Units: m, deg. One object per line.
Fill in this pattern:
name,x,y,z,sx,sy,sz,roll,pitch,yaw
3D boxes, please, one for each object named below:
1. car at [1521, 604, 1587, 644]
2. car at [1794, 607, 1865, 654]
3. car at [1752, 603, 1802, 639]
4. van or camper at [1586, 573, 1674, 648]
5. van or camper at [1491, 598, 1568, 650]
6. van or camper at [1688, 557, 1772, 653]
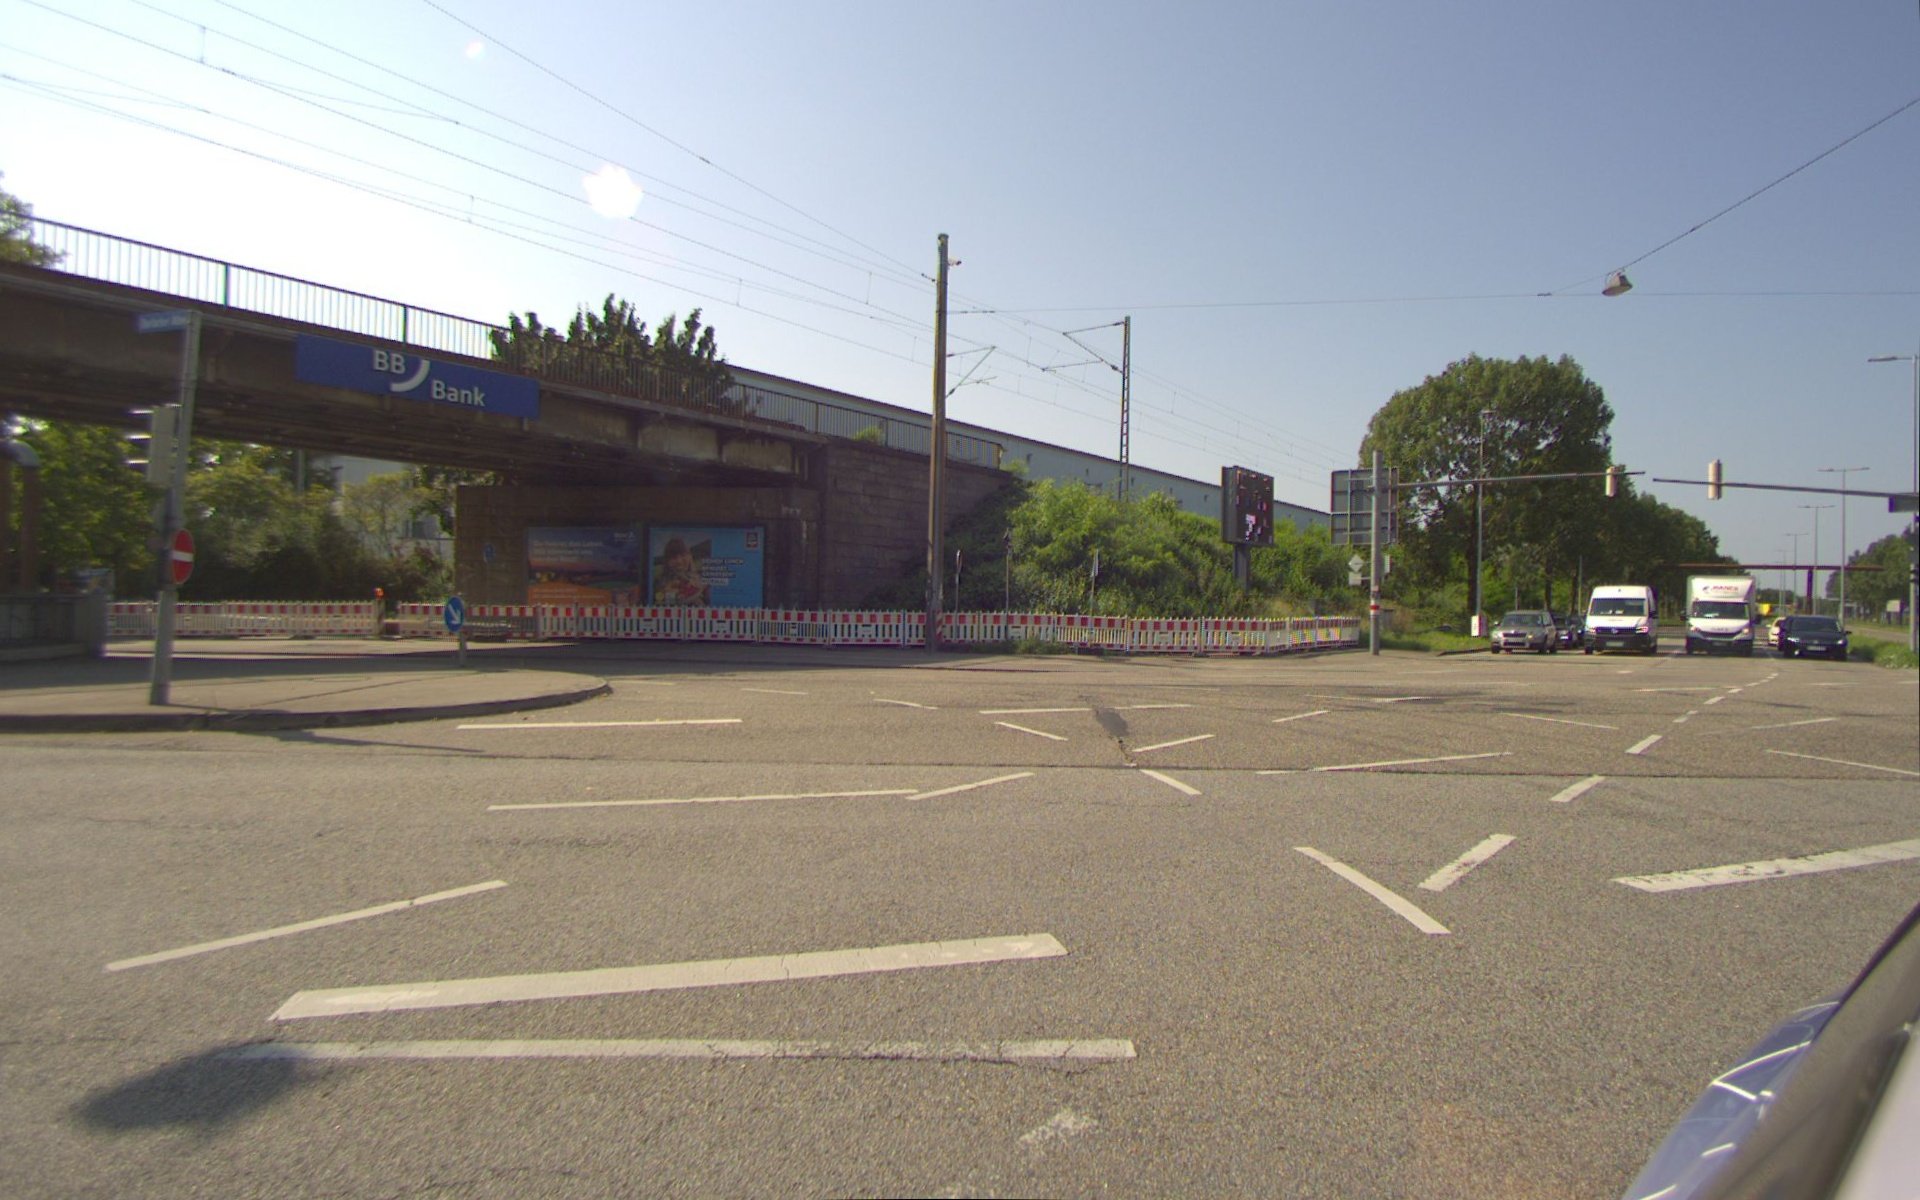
car,25.096,0.989,42.686,1.988,1.572,3.947,-1,-1,36
car,32.818,1.198,38.271,1.897,1.634,5.118,-1,-3,40
car,40.806,1.079,50.530,1.651,1.686,3.695,-2,-4,43
van or camper,25.447,0.508,38.321,2.237,2.515,6.768,-1,-3,38
van or camper,21.195,0.925,37.587,1.842,1.800,4.114,-1,-3,39
van or camper,30.162,0.317,39.543,2.239,3.406,6.748,-1,-4,40
